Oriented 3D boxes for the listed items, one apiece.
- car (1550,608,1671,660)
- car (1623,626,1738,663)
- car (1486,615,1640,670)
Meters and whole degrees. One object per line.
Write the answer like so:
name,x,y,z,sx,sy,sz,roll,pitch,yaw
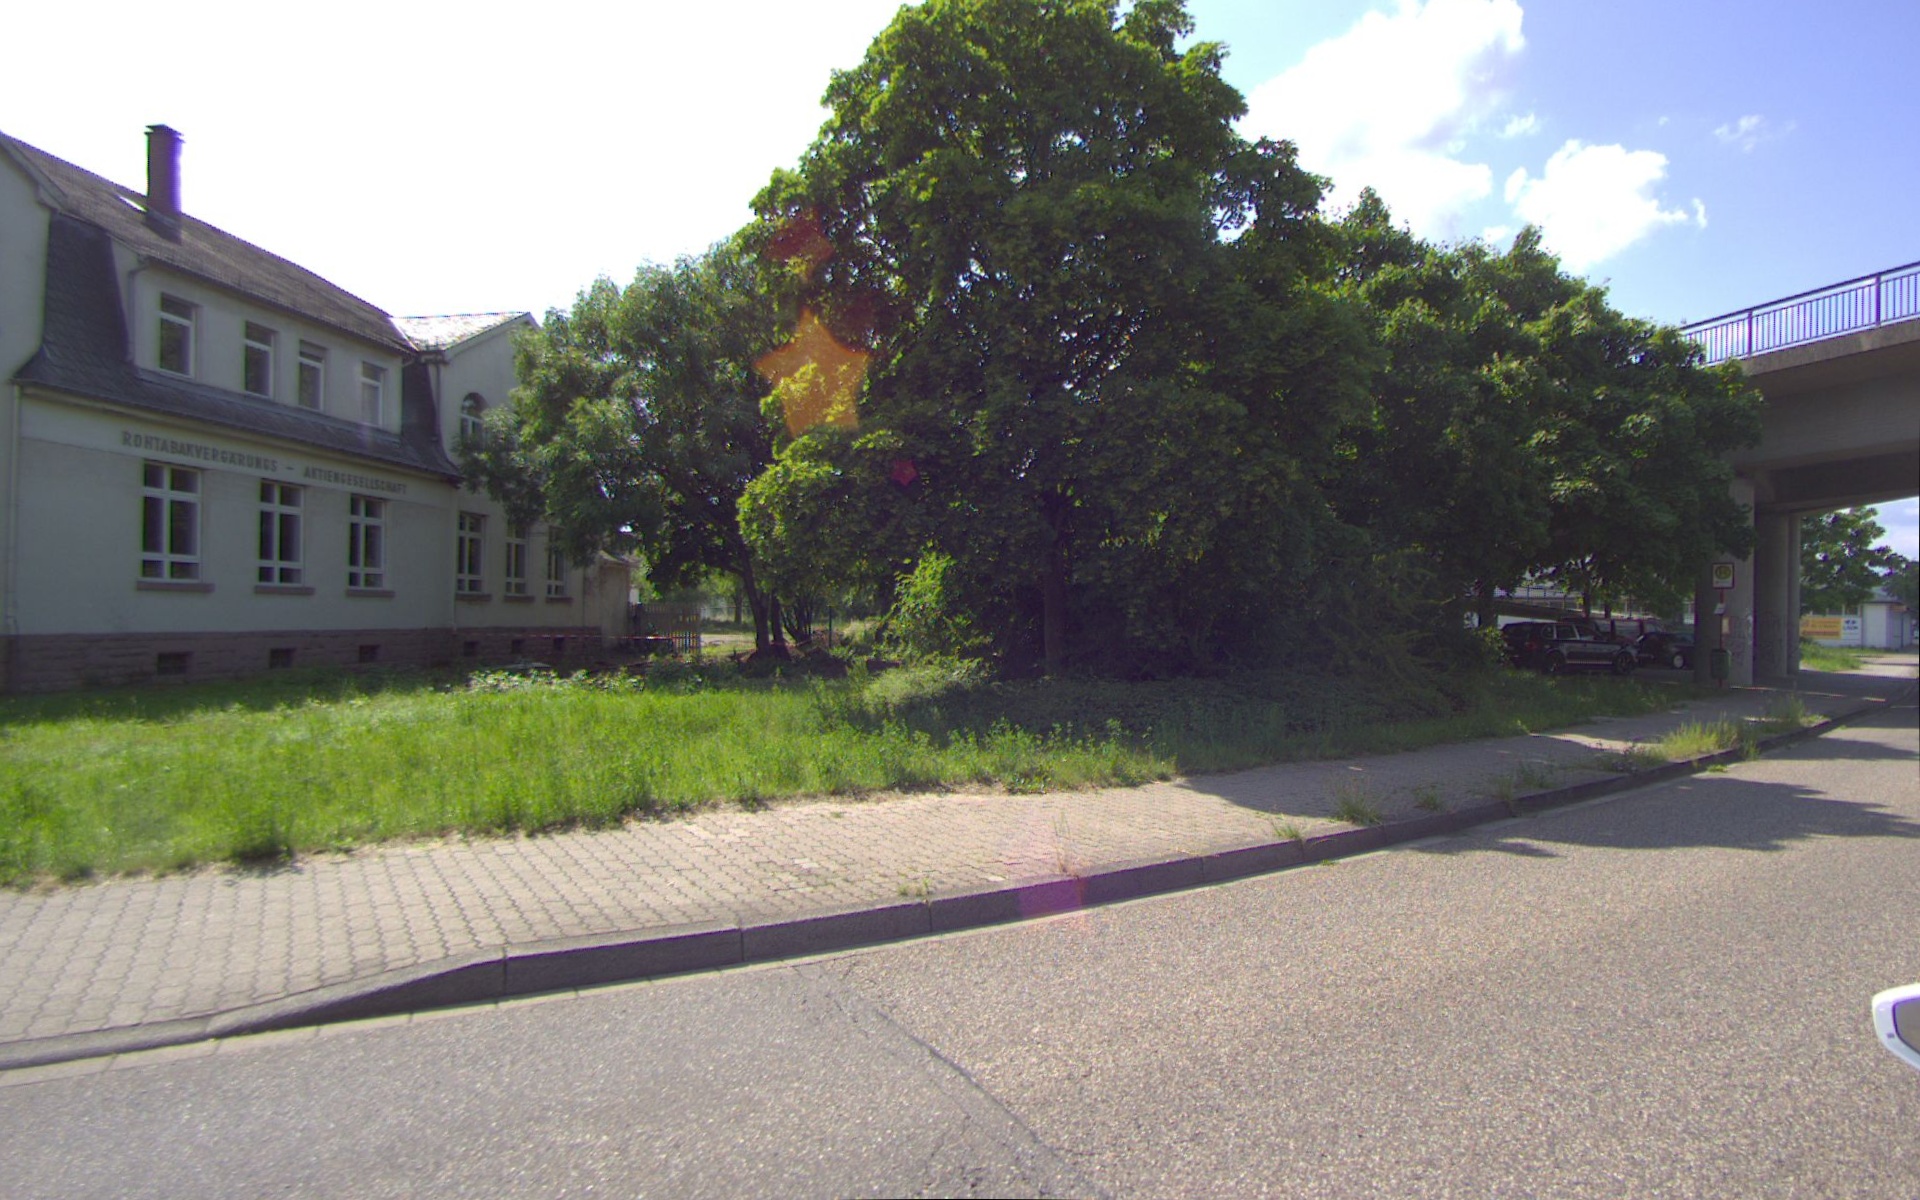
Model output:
car,27.241,1.400,42.134,3.884,2.040,1.945,1,-1,-6
car,28.033,1.721,39.133,3.386,1.301,1.691,1,-1,-7
car,19.198,1.328,31.978,4.502,1.651,1.678,1,-1,-18
